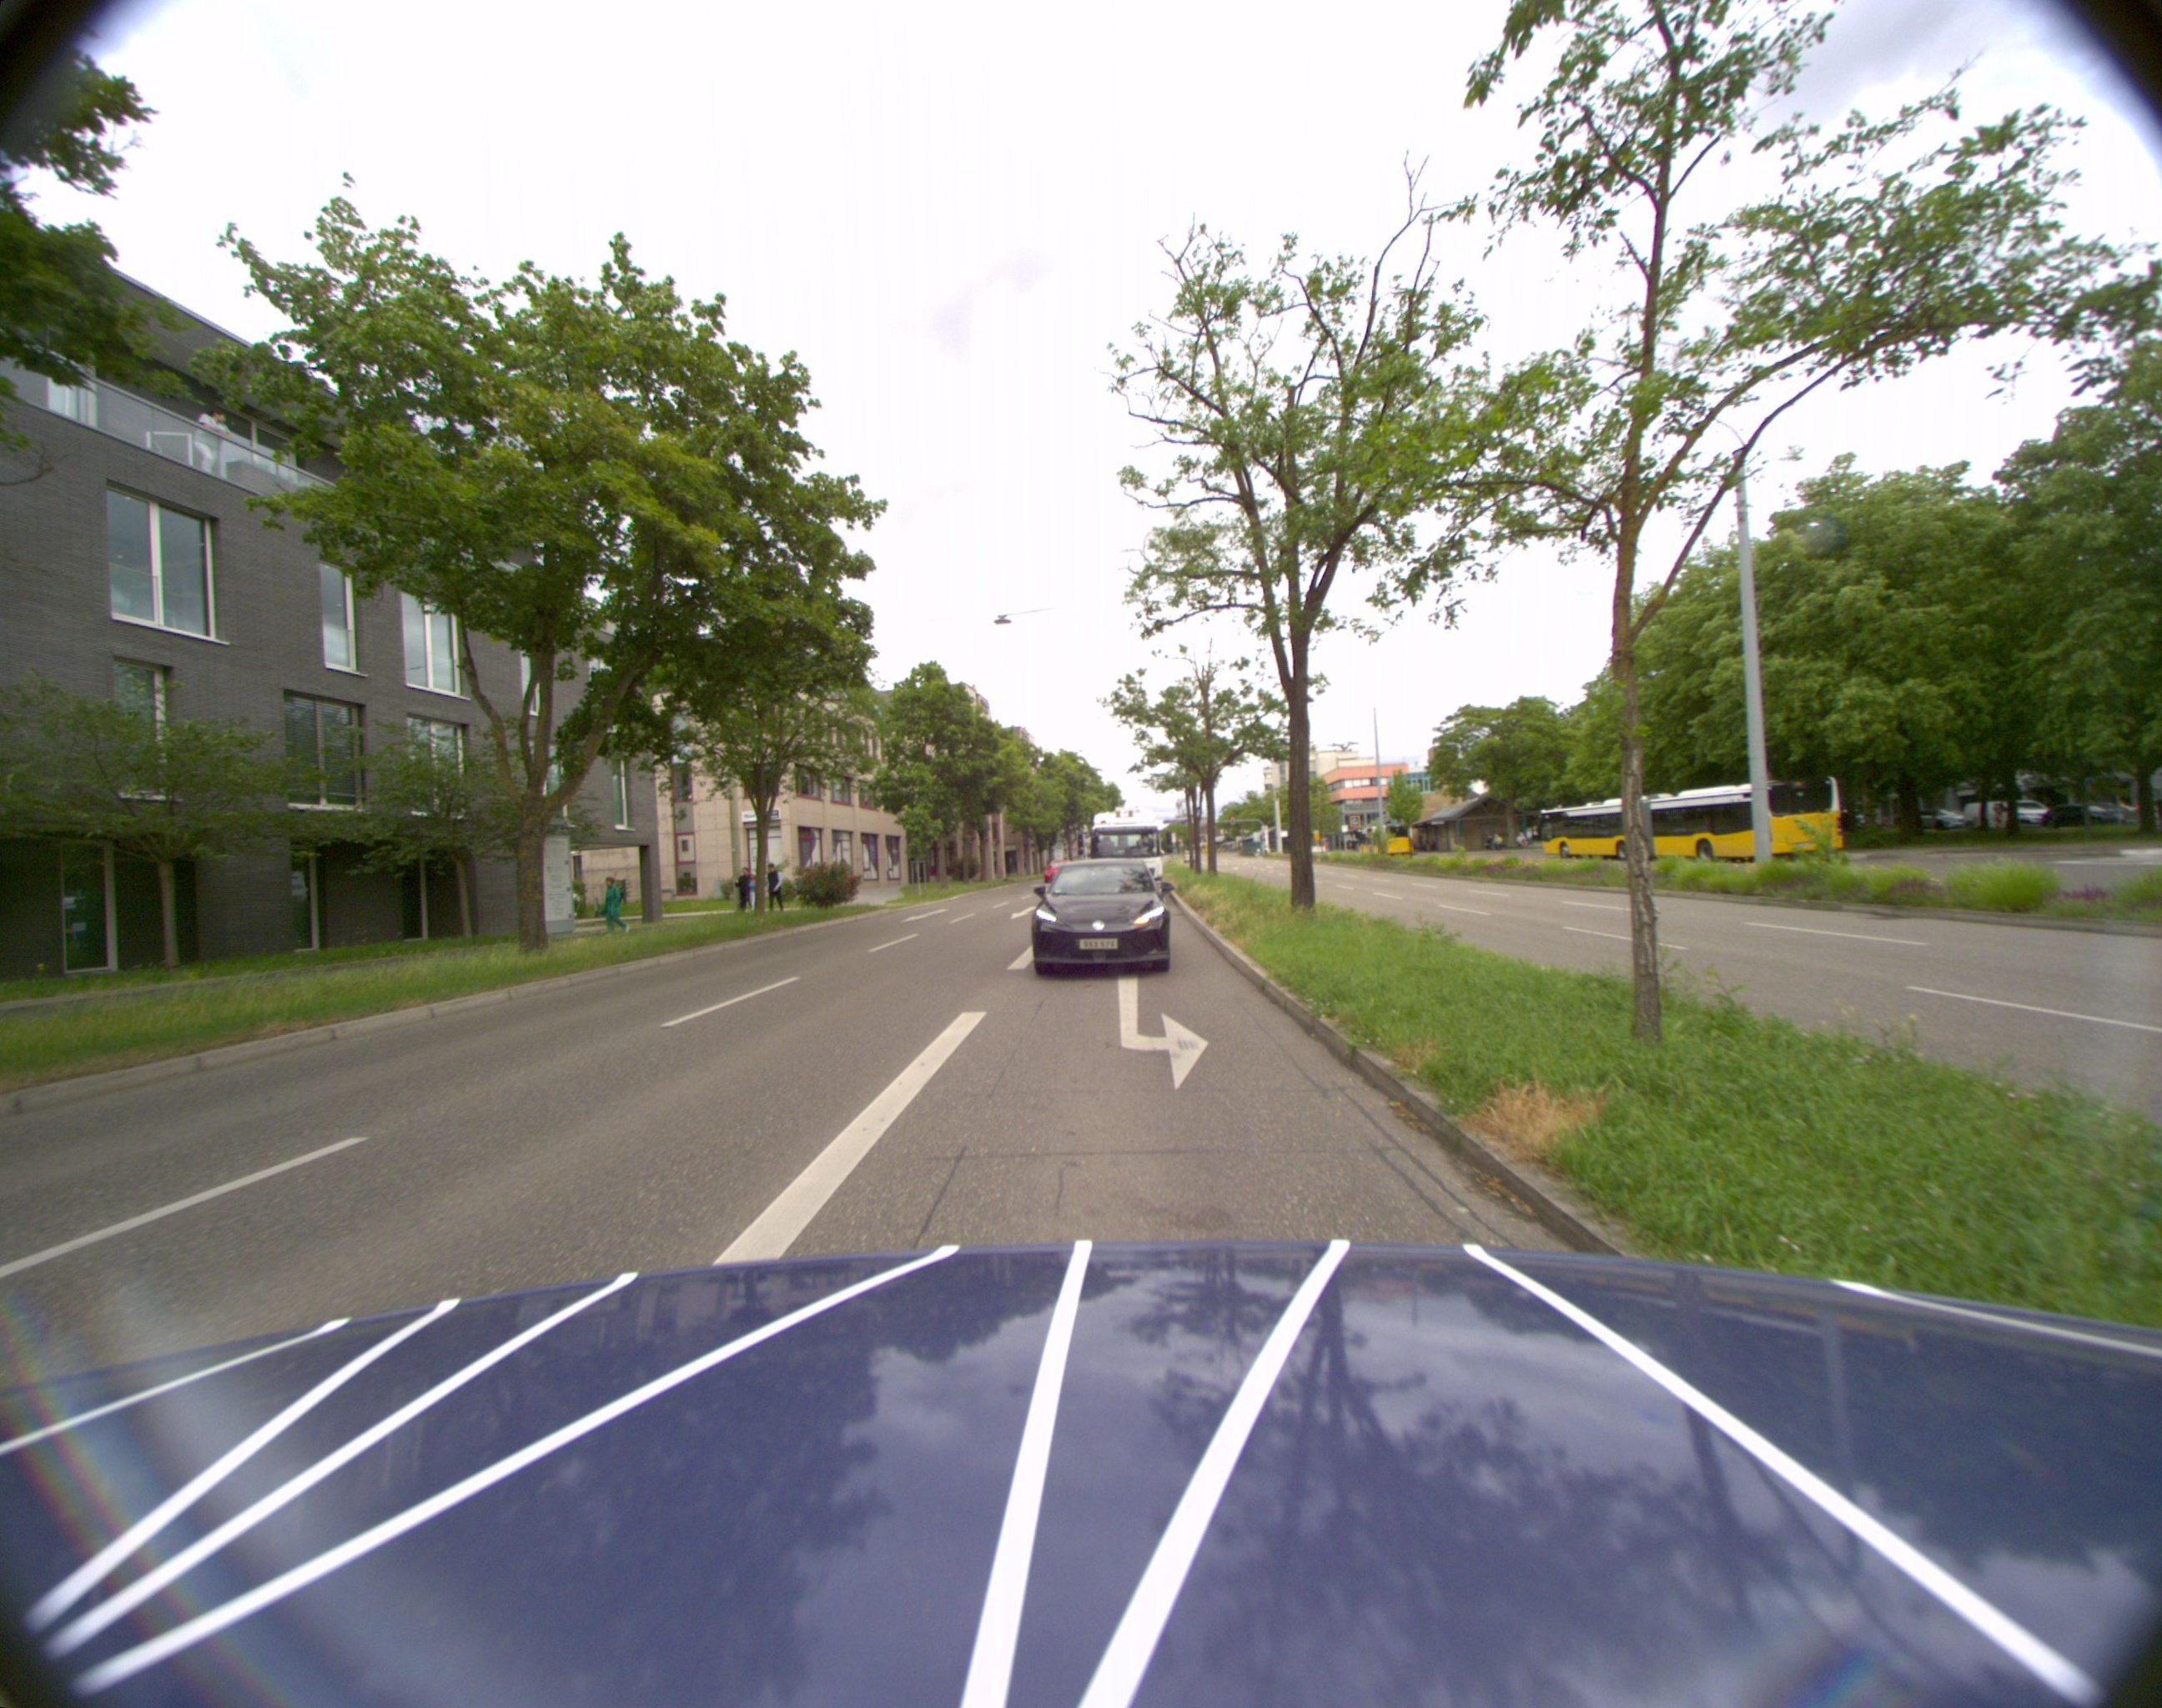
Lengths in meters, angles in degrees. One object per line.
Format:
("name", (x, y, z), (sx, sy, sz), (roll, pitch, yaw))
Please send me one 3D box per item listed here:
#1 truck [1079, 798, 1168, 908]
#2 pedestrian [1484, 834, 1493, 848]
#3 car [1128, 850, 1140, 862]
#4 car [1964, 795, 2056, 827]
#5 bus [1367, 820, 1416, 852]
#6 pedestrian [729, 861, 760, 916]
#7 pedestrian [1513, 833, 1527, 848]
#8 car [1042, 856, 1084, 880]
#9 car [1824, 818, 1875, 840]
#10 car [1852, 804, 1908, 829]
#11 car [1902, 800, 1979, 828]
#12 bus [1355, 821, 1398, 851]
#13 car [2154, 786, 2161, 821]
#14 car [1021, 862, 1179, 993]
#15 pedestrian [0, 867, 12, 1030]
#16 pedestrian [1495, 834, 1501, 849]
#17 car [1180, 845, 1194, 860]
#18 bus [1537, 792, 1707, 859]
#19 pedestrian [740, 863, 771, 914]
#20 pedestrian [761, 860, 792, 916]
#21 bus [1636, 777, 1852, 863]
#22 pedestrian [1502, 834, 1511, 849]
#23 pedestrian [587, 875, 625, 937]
("truck", (1.517, -0.025, 26.580), (2.544, 3.187, 7.370), (-3, 0, 4))
("pedestrian", (34.159, -1.058, 63.700), (0.598, 1.155, 0.744), (-2, 1, 27))
("car", (9.489, 0.309, 136.375), (1.998, 2.002, 4.001), (-3, 0, 4))
("car", (58.089, -2.665, 47.634), (1.688, 1.740, 4.004), (-3, 0, 17))
("bus", (30.197, -1.689, 74.343), (2.887, 2.793, 9.184), (-3, 0, 13))
("pedestrian", (-11.356, 1.159, 25.669), (0.642, 1.794, 0.677), (-3, 1, 4))
("pedestrian", (35.226, -1.047, 60.992), (0.649, 1.165, 0.925), (-2, 1, 4))
("car", (-1.156, 0.906, 51.141), (1.997, 1.455, 4.003), (-3, 0, 10))
("car", (63.344, -2.040, 62.682), (1.688, 1.740, 3.097), (-3, 0, 17))
("car", (62.125, -2.891, 59.144), (1.688, 1.740, 3.097), (-3, 0, 17))
("car", (60.504, -2.788, 53.570), (1.688, 1.740, 4.004), (-3, 0, 17))
("bus", (32.211, -1.900, 83.167), (2.887, 2.985, 9.184), (-3, 0, 13))
("car", (54.027, -2.523, 35.936), (1.688, 1.740, 4.004), (-3, 0, 17))
("car", (0.352, 0.906, 11.103), (1.826, 1.430, 4.001), (-3, 0, 4))
("pedestrian", (-12.867, 1.104, 8.285), (0.961, 1.857, 0.979), (-3, 0, 5))
("pedestrian", (33.876, -1.016, 61.679), (0.367, 1.160, 0.899), (-2, 1, 29))
("car", (14.874, -0.225, 106.610), (1.726, 2.002, 4.002), (-3, 0, 6))
("bus", (28.252, -1.351, 40.495), (2.887, 2.985, 10.399), (-3, 0, 9))
("pedestrian", (-10.794, 1.140, 25.207), (0.642, 1.637, 0.677), (-3, 1, 4))
("pedestrian", (-10.085, 1.111, 25.165), (0.642, 1.794, 0.677), (-3, 1, 4))
("bus", (26.874, -1.244, 31.480), (2.887, 2.985, 7.887), (-3, 0, 9))
("pedestrian", (34.386, -1.037, 61.462), (0.598, 1.155, 0.744), (-2, 1, 29))
("pedestrian", (-12.038, 1.299, 19.270), (0.496, 1.510, 0.677), (0, 1, 4))
